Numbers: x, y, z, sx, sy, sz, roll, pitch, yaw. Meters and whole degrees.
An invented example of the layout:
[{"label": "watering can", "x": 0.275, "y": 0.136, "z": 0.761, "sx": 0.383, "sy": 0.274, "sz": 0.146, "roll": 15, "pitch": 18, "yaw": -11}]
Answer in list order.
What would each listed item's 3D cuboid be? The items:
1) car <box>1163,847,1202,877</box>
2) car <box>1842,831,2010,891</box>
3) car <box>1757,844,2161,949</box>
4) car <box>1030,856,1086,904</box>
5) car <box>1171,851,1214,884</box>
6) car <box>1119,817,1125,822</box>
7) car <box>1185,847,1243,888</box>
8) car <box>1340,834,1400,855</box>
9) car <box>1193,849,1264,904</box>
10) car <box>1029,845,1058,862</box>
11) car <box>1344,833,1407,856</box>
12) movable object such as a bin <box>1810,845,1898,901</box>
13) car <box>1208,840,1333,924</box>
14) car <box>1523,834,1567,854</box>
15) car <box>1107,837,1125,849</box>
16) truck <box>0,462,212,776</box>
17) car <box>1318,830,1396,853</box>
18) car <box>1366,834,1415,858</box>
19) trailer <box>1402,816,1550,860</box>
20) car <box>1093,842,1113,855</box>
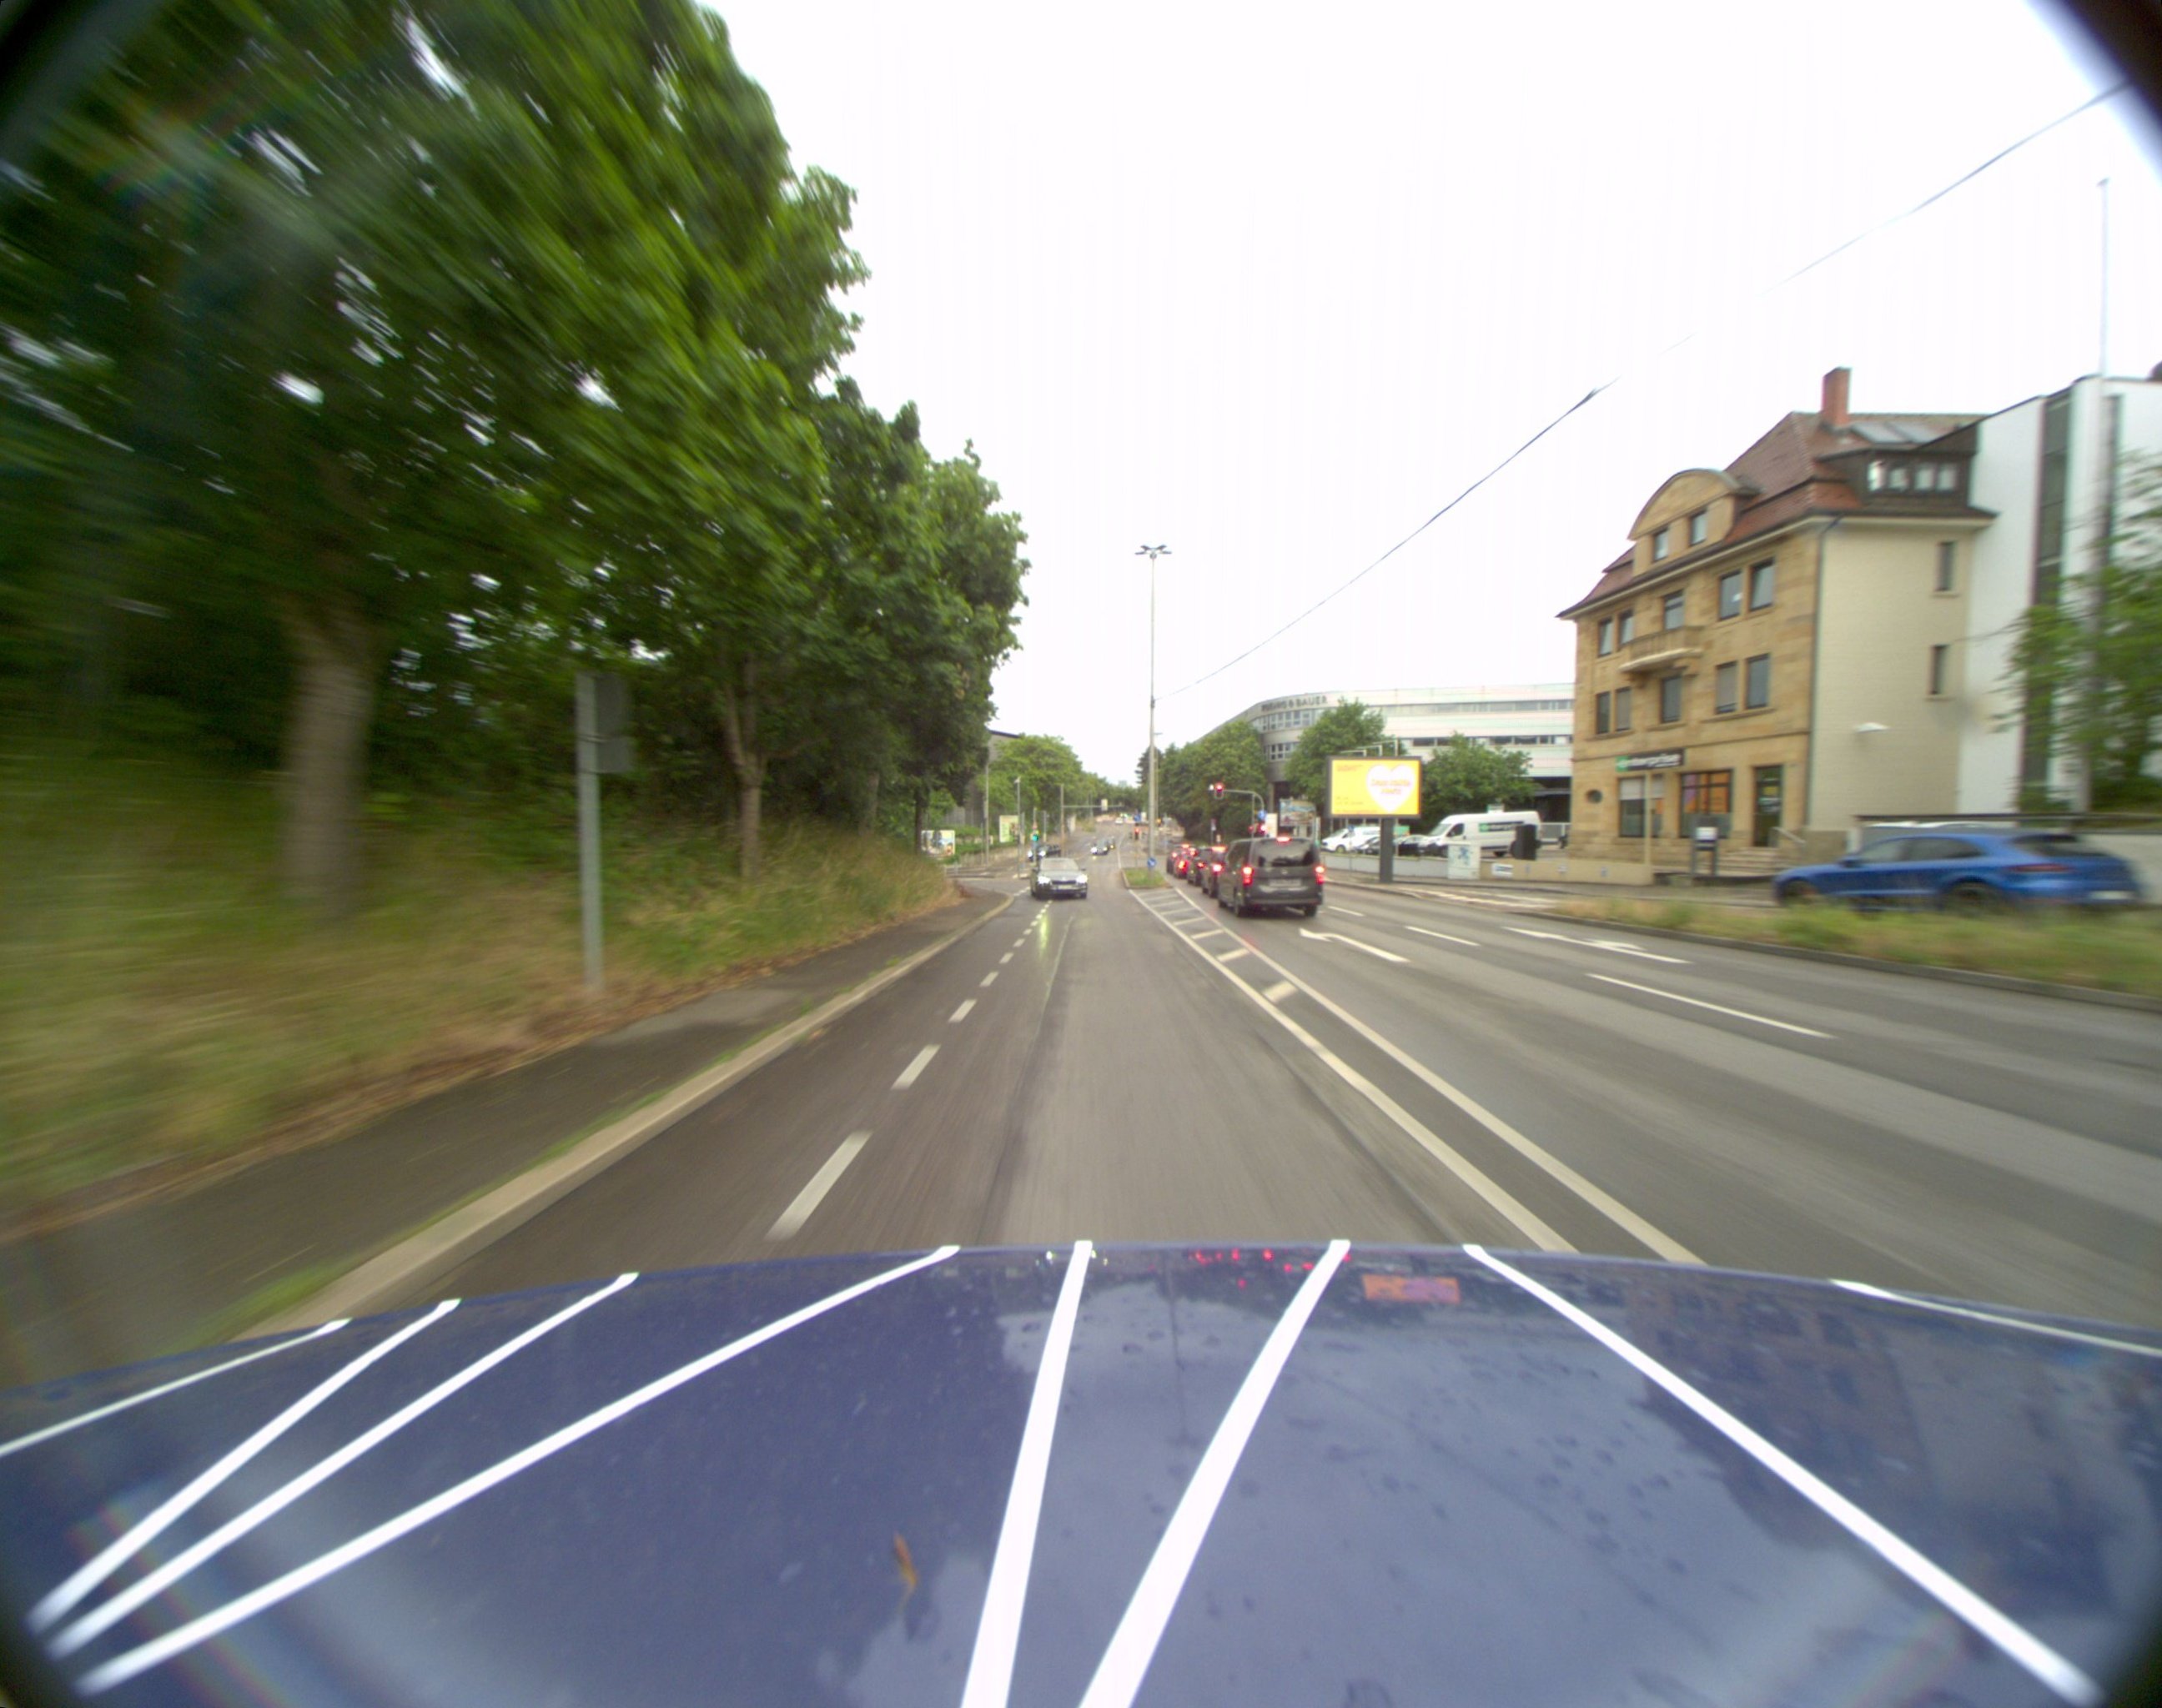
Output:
[{"label": "car", "x": 6.396, "y": 0.452, "z": 48.336, "sx": 1.938, "sy": 1.808, "sz": 5.170, "roll": 0, "pitch": 1, "yaw": 2}, {"label": "car", "x": 24.741, "y": 0.166, "z": 22.339, "sx": 3.051, "sy": 1.666, "sz": 1.714, "roll": 0, "pitch": 3, "yaw": -3}, {"label": "car", "x": 14.816, "y": 0.639, "z": 13.334, "sx": 1.692, "sy": 1.525, "sz": 4.672, "roll": 0, "pitch": -1, "yaw": -1}, {"label": "car", "x": -0.771, "y": 0.884, "z": 27.734, "sx": 1.811, "sy": 1.509, "sz": 4.052, "roll": -3, "pitch": 0, "yaw": 0}, {"label": "car", "x": 6.113, "y": 0.697, "z": 42.017, "sx": 1.810, "sy": 1.522, "sz": 4.440, "roll": 0, "pitch": 3, "yaw": 1}, {"label": "car", "x": 10.662, "y": -9.067, "z": 198.967, "sx": 1.532, "sy": 1.307, "sz": 3.230, "roll": 0, "pitch": 3, "yaw": 5}, {"label": "car", "x": 5.860, "y": 0.549, "z": 33.952, "sx": 1.959, "sy": 1.687, "sz": 4.625, "roll": 0, "pitch": 1, "yaw": 2}, {"label": "car", "x": 21.122, "y": -0.726, "z": 55.658, "sx": 3.620, "sy": 1.361, "sz": 1.872, "roll": -3, "pitch": 2, "yaw": 2}, {"label": "car", "x": 5.093, "y": 0.712, "z": 26.815, "sx": 1.692, "sy": 1.596, "sz": 4.727, "roll": 0, "pitch": 3, "yaw": 1}, {"label": "car", "x": -3.965, "y": -0.063, "z": 81.669, "sx": 1.950, "sy": 1.535, "sz": 4.213, "roll": -3, "pitch": 3, "yaw": 14}, {"label": "car", "x": 20.304, "y": -0.655, "z": 52.434, "sx": 3.620, "sy": 1.361, "sz": 1.741, "roll": -3, "pitch": 2, "yaw": 2}, {"label": "movable object such as a bin", "x": 20.234, "y": 0.487, "z": 19.919, "sx": 1.189, "sy": 1.398, "sz": 1.098, "roll": -2, "pitch": 0, "yaw": -3}, {"label": "car", "x": 4.590, "y": 0.609, "z": 19.245, "sx": 2.019, "sy": 1.856, "sz": 5.041, "roll": 0, "pitch": 0, "yaw": 2}, {"label": "car", "x": 33.730, "y": -0.712, "z": 55.346, "sx": 1.371, "sy": 1.398, "sz": 4.344, "roll": 0, "pitch": 1, "yaw": 12}, {"label": "car", "x": 4.884, "y": -1.555, "z": 105.347, "sx": 1.751, "sy": 1.362, "sz": 3.758, "roll": -3, "pitch": 3, "yaw": 14}, {"label": "truck", "x": -11.214, "y": -2.193, "z": 5.575, "sx": 2.290, "sy": 2.636, "sz": 6.050, "roll": -6, "pitch": 2, "yaw": 1}, {"label": "car", "x": 21.880, "y": -1.015, "z": 60.364, "sx": 5.371, "sy": 1.792, "sz": 2.218, "roll": 0, "pitch": 3, "yaw": -6}, {"label": "car", "x": 20.396, "y": -0.554, "z": 50.161, "sx": 2.684, "sy": 1.416, "sz": 1.227, "roll": -3, "pitch": 2, "yaw": 2}, {"label": "trailer", "x": 22.368, "y": -0.940, "z": 43.260, "sx": 7.115, "sy": 2.415, "sz": 2.394, "roll": 0, "pitch": 3, "yaw": 0}, {"label": "car", "x": 2.602, "y": -0.696, "z": 89.281, "sx": 1.595, "sy": 1.253, "sz": 3.758, "roll": -3, "pitch": 2, "yaw": 14}]
